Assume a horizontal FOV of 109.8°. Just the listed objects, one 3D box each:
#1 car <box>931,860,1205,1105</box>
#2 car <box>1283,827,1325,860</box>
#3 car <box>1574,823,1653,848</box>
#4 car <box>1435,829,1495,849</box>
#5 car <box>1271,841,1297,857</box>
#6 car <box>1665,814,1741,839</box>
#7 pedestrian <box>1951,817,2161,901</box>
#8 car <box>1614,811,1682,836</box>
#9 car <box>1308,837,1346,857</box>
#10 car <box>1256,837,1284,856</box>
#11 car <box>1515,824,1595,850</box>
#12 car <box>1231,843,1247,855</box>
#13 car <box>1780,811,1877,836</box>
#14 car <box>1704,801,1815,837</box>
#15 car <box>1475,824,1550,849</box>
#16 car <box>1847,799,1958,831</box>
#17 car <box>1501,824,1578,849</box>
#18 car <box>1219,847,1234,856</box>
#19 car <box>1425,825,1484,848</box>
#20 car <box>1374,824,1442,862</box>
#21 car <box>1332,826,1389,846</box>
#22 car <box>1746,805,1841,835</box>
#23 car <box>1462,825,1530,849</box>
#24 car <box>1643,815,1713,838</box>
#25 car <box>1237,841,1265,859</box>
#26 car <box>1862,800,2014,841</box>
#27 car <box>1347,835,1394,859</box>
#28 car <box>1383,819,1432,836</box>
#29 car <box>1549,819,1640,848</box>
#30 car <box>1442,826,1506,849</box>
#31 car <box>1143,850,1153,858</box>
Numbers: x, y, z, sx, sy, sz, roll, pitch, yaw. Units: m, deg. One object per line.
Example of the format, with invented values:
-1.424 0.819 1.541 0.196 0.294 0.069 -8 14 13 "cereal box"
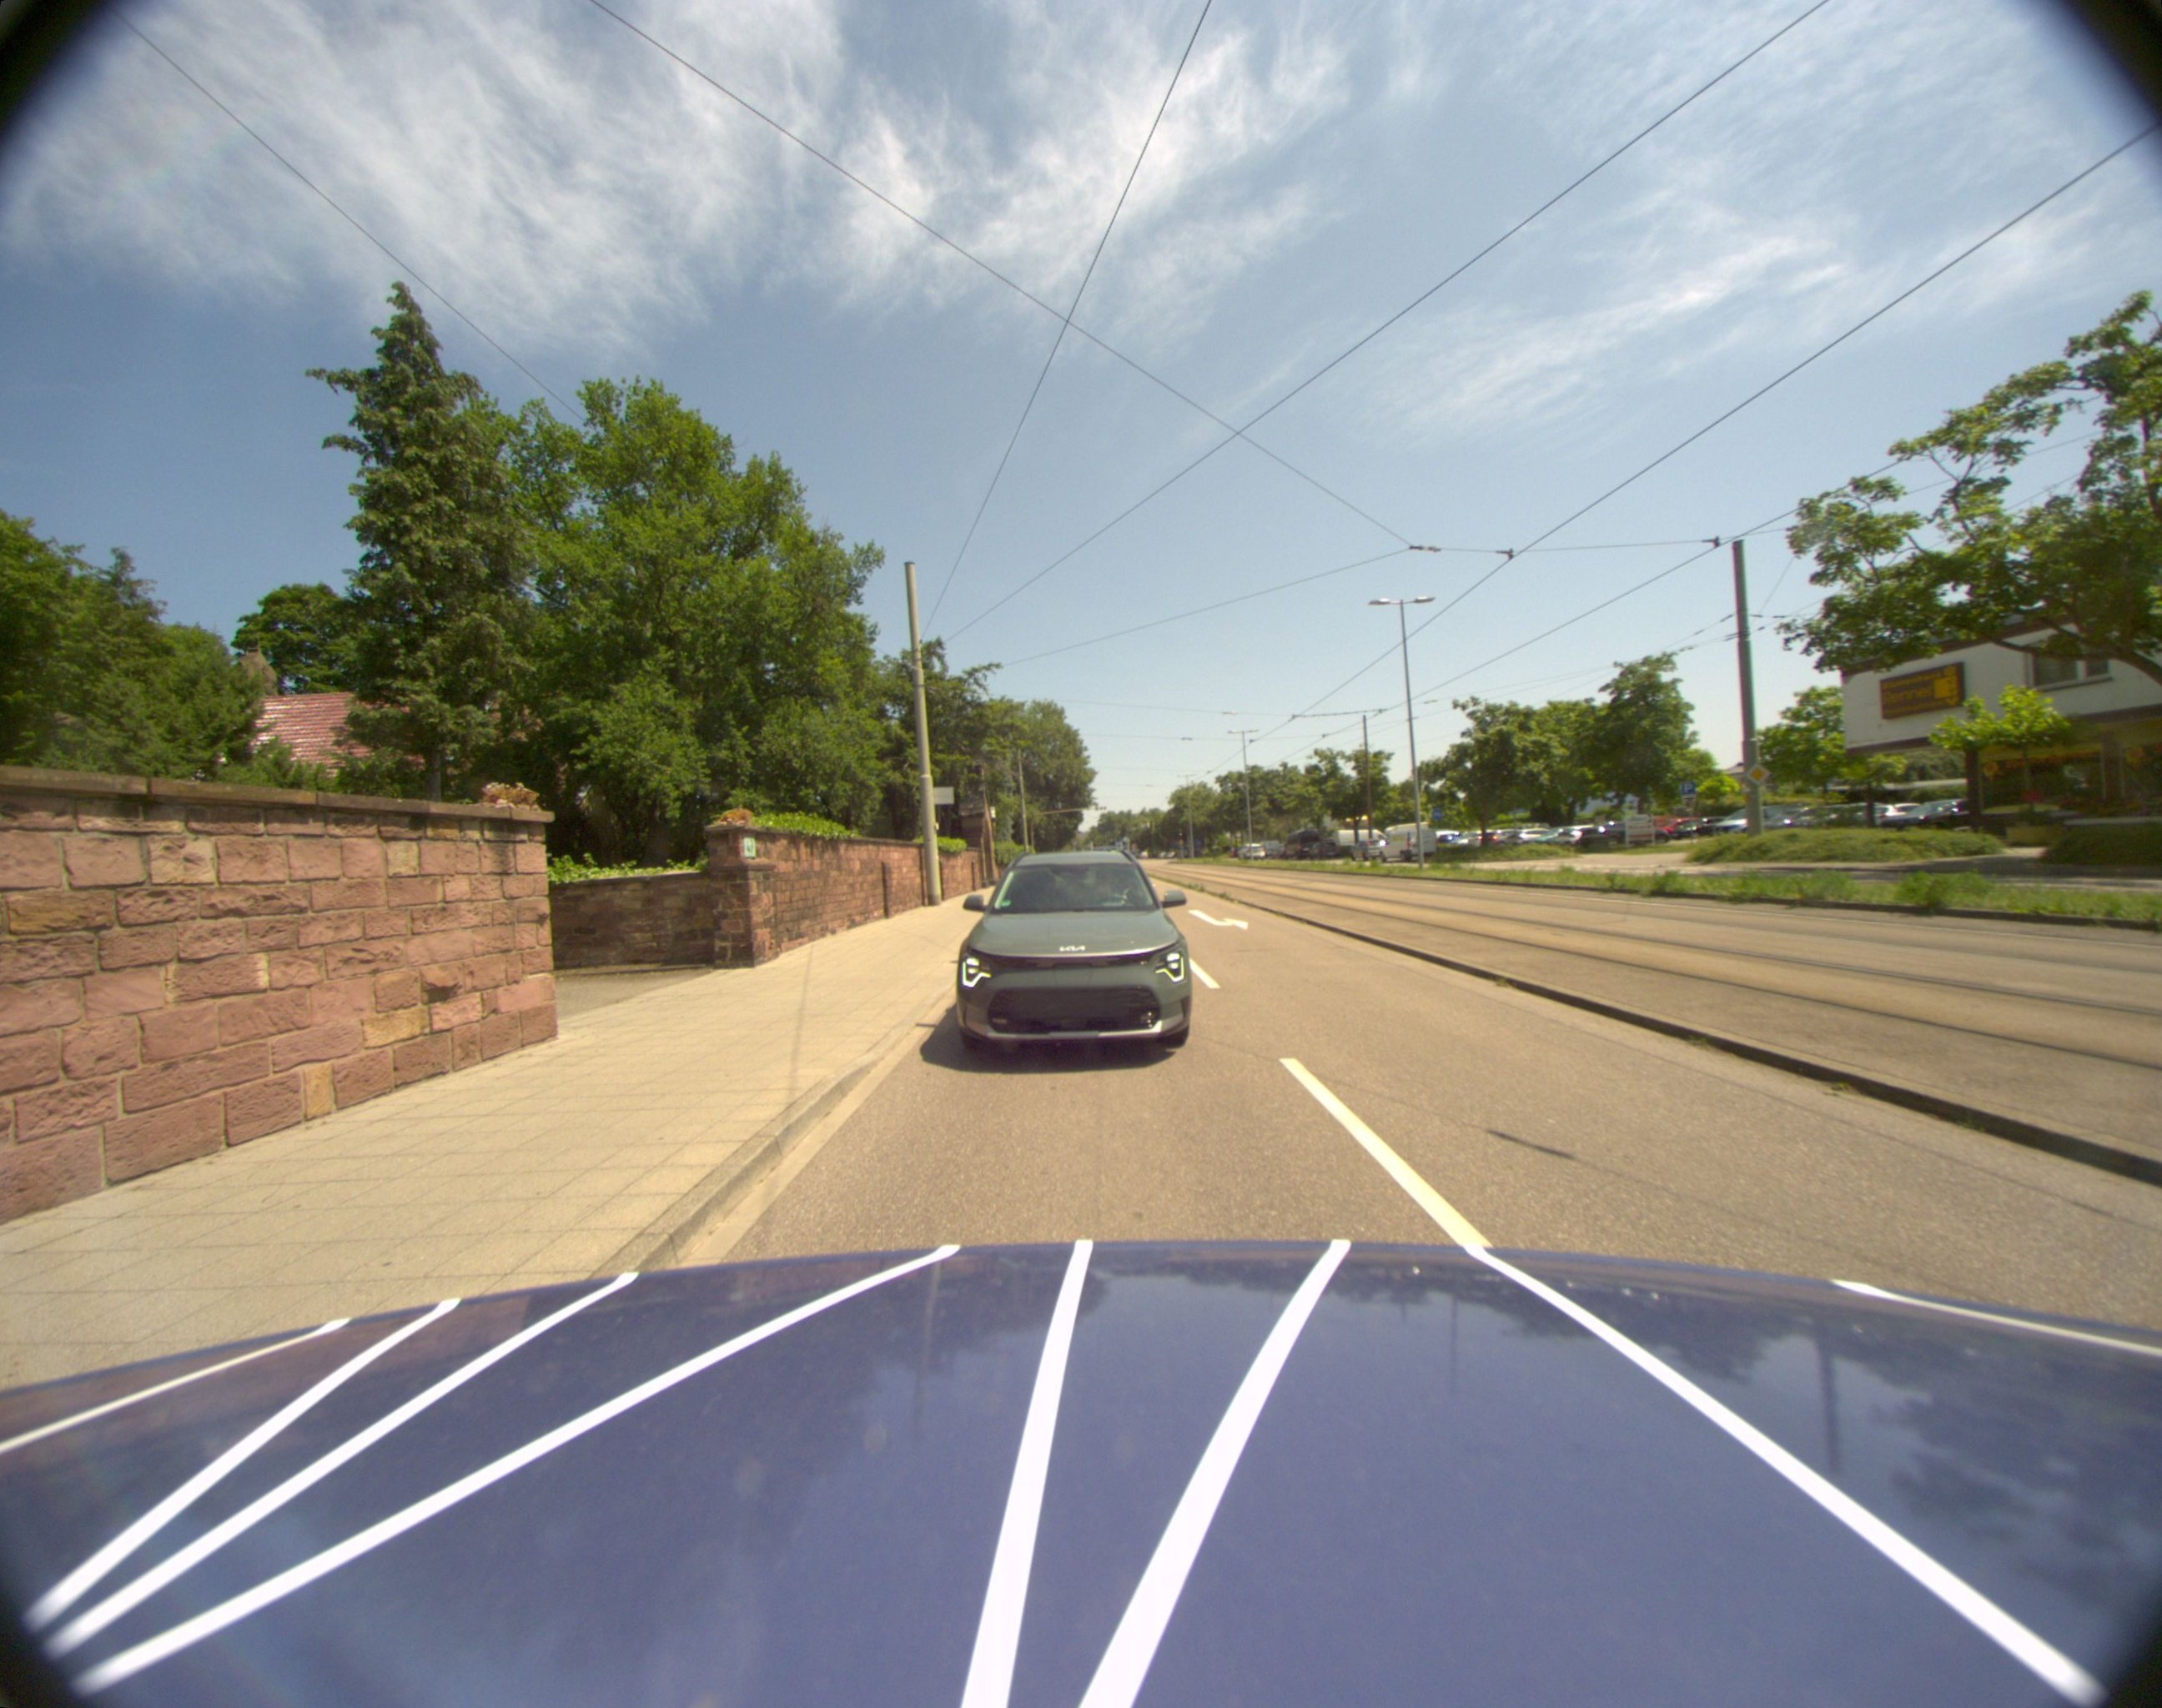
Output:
-0.095 0.892 7.320 1.824 1.577 4.287 -2 0 0 "car"
20.333 -0.947 69.475 2.243 2.822 5.667 -2 1 1 "car"
30.598 -1.044 43.692 3.423 1.225 1.643 -3 0 -6 "car"
31.248 -1.228 61.899 3.998 1.398 1.797 -2 0 -3 "car"
20.684 -0.530 77.530 1.767 1.456 3.608 -2 1 2 "car"
43.907 -1.902 53.708 3.997 1.576 1.684 -2 1 -1 "car"
26.741 0.080 20.488 1.998 2.002 3.999 -2 1 0 "pedestrian"
43.806 -2.360 58.726 4.129 1.643 1.692 -3 0 -5 "car"
20.394 -0.585 63.112 1.976 1.568 3.751 -2 1 1 "car"
20.666 -0.838 83.378 1.924 1.937 4.817 -2 1 2 "car"
30.477 -1.087 48.944 4.040 1.481 1.912 -2 1 -6 "car"
20.803 -0.722 100.076 1.582 1.472 3.423 -2 1 3 "car"
42.824 -1.731 43.594 3.724 1.277 1.764 -2 1 3 "car"
43.427 -2.212 48.711 5.120 2.058 2.226 -2 1 1 "car"
30.497 -1.204 53.812 4.163 1.481 2.023 -3 0 -6 "car"
43.966 -2.054 40.728 3.996 1.511 1.661 -2 1 3 "car"
31.003 -1.175 51.400 4.146 1.481 1.859 -2 1 -6 "car"
21.452 -0.375 112.204 1.582 1.152 3.423 -2 1 3 "car"
31.698 -1.488 64.551 3.998 1.708 1.797 -3 1 -3 "car"
20.142 -0.686 47.066 1.880 1.999 5.344 -6 1 1 "car"
30.714 -2.005 83.674 5.434 1.945 2.029 -2 1 2 "car"
43.335 -2.048 46.291 3.996 1.647 1.803 -2 1 3 "car"
30.933 -1.257 56.642 4.075 1.481 1.831 -3 0 -6 "car"
44.305 -2.036 56.449 3.999 1.486 1.715 -2 1 -5 "car"
16.000 -0.389 71.702 1.728 1.601 4.569 -2 1 2 "car"
34.104 -1.298 30.313 3.996 1.289 1.682 -4 0 2 "car"
20.256 -0.486 53.362 1.654 1.494 4.125 -6 1 1 "car"
44.558 -3.589 103.797 5.744 2.051 2.147 -2 1 -2 "car"
31.195 -1.228 46.258 4.171 1.481 1.984 -3 0 -1 "car"
30.588 -1.272 59.136 3.999 1.479 1.866 -3 0 -6 "car"
16.748 0.029 190.190 1.821 1.979 4.212 -2 1 -3 "car"
